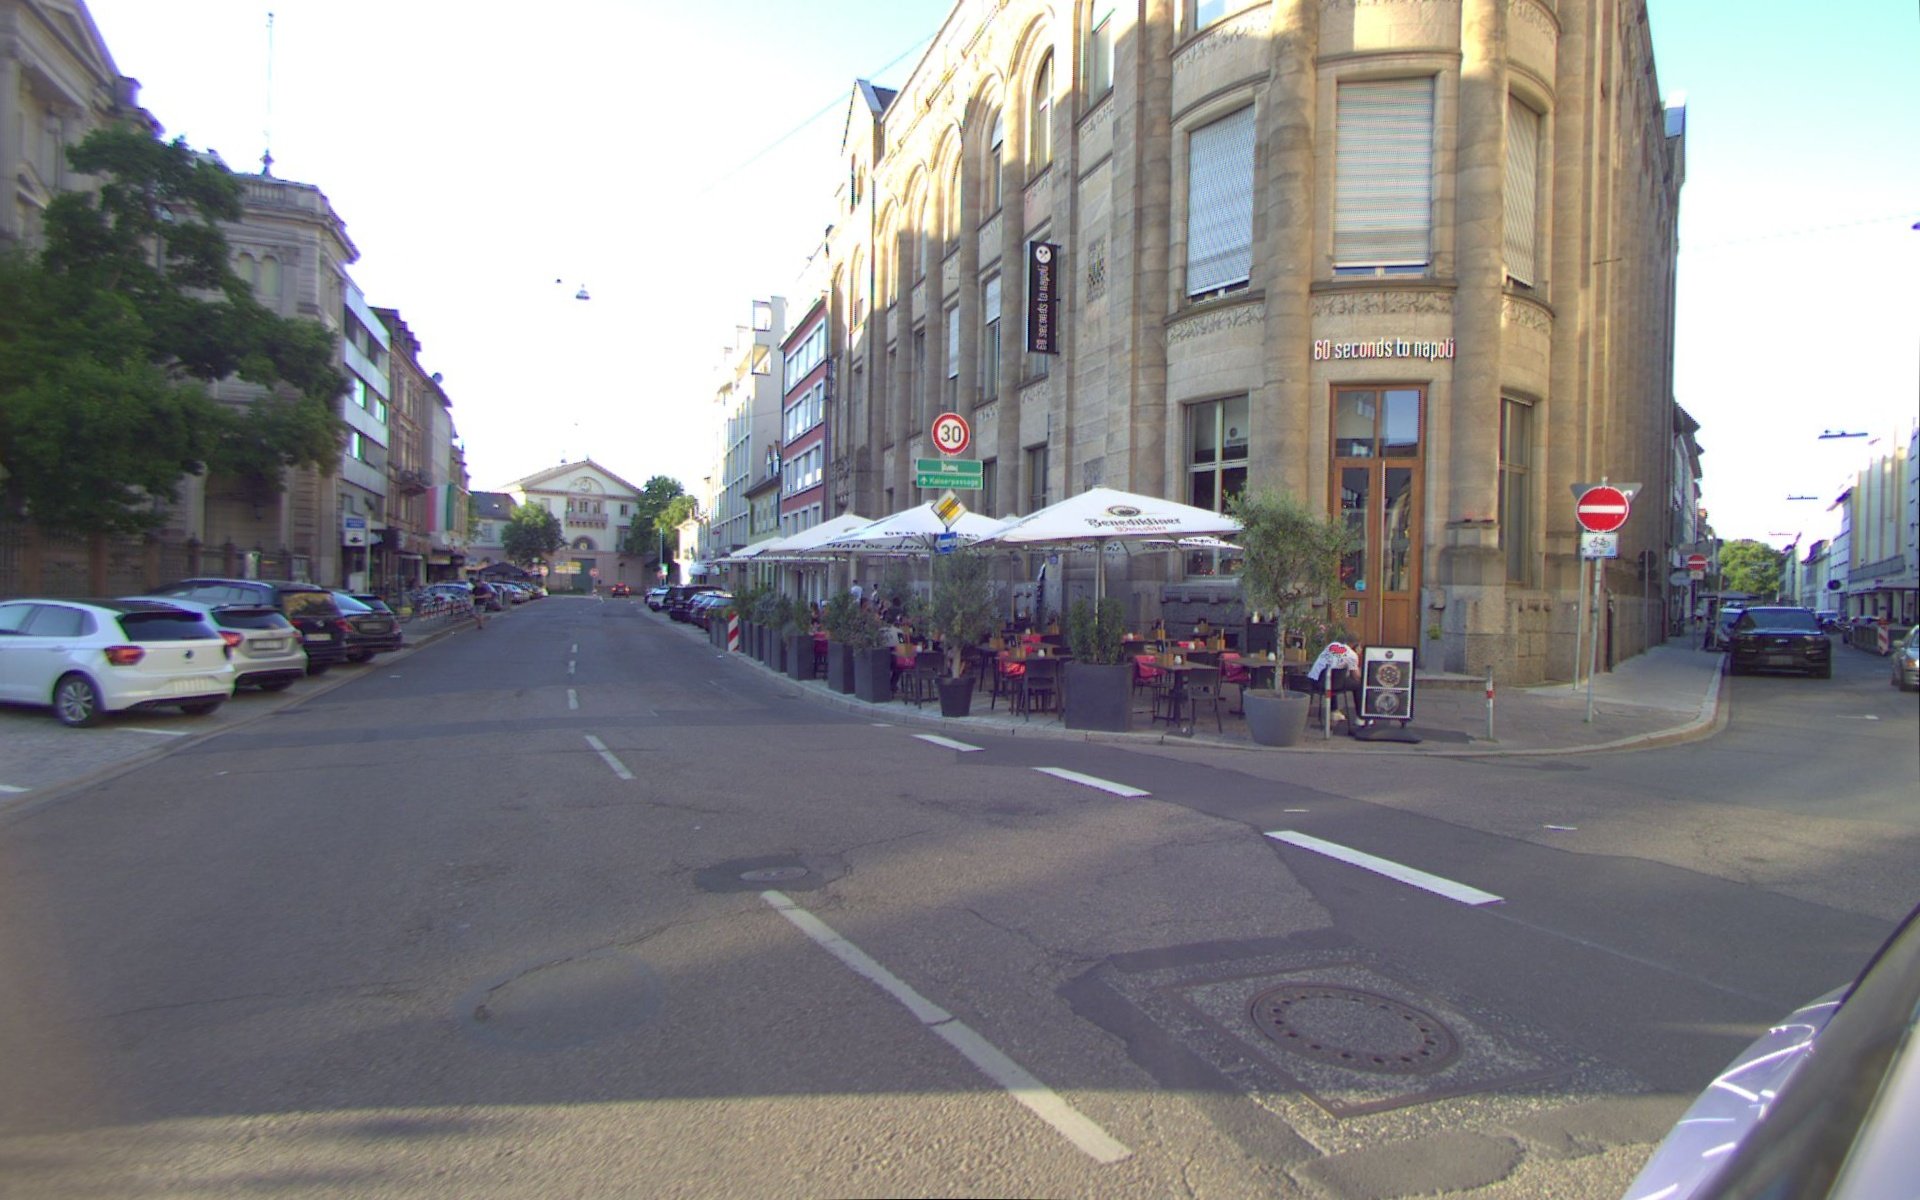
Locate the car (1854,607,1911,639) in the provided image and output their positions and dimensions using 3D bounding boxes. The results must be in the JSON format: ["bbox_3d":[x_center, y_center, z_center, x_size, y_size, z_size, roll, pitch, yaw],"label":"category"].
[{"bbox_3d":[47.464,1.153,52.140,1.713,1.479,4.081,1,0,36],"label":"car"}]

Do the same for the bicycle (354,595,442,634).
[{"bbox_3d":[-16.843,0.422,30.404,2.254,1.104,0.718,0,1,-24],"label":"bicycle"}]

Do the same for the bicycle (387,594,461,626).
[{"bbox_3d":[-18.945,0.336,35.831,2.254,1.104,0.718,0,1,-24],"label":"bicycle"}]

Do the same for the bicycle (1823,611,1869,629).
[{"bbox_3d":[64.803,1.467,74.054,2.476,1.193,0.771,1,1,45],"label":"bicycle"}]

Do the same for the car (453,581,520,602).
[{"bbox_3d":[-33.548,-0.609,71.740,3.922,1.430,1.756,0,1,-1],"label":"car"}]

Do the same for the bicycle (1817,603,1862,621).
[{"bbox_3d":[66.390,0.905,76.407,2.476,1.347,0.771,1,1,45],"label":"bicycle"}]

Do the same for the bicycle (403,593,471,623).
[{"bbox_3d":[-19.927,0.292,38.589,2.254,1.104,0.718,0,1,-24],"label":"bicycle"}]

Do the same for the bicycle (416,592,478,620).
[{"bbox_3d":[-21.116,0.243,41.701,2.254,1.104,0.718,0,1,-24],"label":"bicycle"}]

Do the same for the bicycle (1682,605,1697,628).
[{"bbox_3d":[37.935,0.840,52.606,0.518,1.103,1.728,6,3,38],"label":"bicycle"}]

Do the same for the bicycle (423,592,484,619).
[{"bbox_3d":[-21.308,0.228,42.631,2.254,1.104,0.718,0,1,-24],"label":"bicycle"}]

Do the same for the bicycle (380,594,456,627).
[{"bbox_3d":[-18.589,0.353,34.766,2.254,1.104,0.718,0,1,-24],"label":"bicycle"}]

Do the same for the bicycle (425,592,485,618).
[{"bbox_3d":[-21.715,0.213,43.570,2.254,1.104,0.718,0,1,-24],"label":"bicycle"}]

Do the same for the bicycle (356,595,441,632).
[{"bbox_3d":[-17.270,0.410,31.185,2.254,1.104,0.718,0,1,-24],"label":"bicycle"}]

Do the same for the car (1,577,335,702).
[{"bbox_3d":[-11.970,0.538,15.416,3.933,1.544,1.751,3,1,8],"label":"car"}]

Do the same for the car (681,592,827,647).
[{"bbox_3d":[-5.816,0.509,28.975,1.745,1.430,4.016,1,1,36],"label":"car"}]

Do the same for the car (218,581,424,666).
[{"bbox_3d":[-13.240,0.429,20.977,3.956,1.628,1.741,0,1,24],"label":"car"}]

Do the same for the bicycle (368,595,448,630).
[{"bbox_3d":[-17.972,0.381,33.009,2.254,1.104,0.718,0,1,-24],"label":"bicycle"}]

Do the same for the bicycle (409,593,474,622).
[{"bbox_3d":[-20.362,0.273,39.793,2.254,1.104,0.718,0,1,-24],"label":"bicycle"}]

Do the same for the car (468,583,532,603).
[{"bbox_3d":[-33.646,-0.540,74.079,3.922,1.430,1.756,0,1,-1],"label":"car"}]

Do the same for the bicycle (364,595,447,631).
[{"bbox_3d":[-17.575,0.395,32.146,2.254,1.104,0.718,0,1,-24],"label":"bicycle"}]

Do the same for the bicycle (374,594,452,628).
[{"bbox_3d":[-18.279,0.367,33.885,2.254,1.104,0.718,0,1,-24],"label":"bicycle"}]

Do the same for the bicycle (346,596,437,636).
[{"bbox_3d":[-16.447,0.439,29.342,2.254,1.104,0.718,0,1,-24],"label":"bicycle"}]

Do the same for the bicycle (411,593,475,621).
[{"bbox_3d":[-20.718,0.261,40.590,2.254,1.104,0.718,0,1,-24],"label":"bicycle"}]

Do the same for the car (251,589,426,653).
[{"bbox_3d":[-15.145,0.456,24.648,3.956,1.430,1.741,0,1,24],"label":"car"}]

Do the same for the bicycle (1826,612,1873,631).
[{"bbox_3d":[62.366,1.494,70.958,2.476,1.193,0.771,1,1,45],"label":"bicycle"}]

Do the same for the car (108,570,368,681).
[{"bbox_3d":[-12.976,0.401,18.239,3.944,1.742,1.747,2,1,16],"label":"car"}]

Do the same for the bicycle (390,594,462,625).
[{"bbox_3d":[-19.291,0.324,36.617,2.254,1.104,0.718,0,1,-24],"label":"bicycle"}]

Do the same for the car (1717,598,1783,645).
[{"bbox_3d":[30.324,0.781,38.936,1.768,1.687,3.949,1,1,35],"label":"car"}]

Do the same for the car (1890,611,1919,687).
[{"bbox_3d":[20.932,0.998,21.027,1.989,1.440,4.397,1,1,38],"label":"car"}]

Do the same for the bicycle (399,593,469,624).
[{"bbox_3d":[-19.595,0.306,37.759,2.254,1.104,0.718,0,1,-24],"label":"bicycle"}]

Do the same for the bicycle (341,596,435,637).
[{"bbox_3d":[-16.110,0.452,28.575,2.254,1.104,0.718,0,1,-24],"label":"bicycle"}]

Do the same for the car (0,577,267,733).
[{"bbox_3d":[-11.148,0.603,12.677,3.846,1.464,1.751,5,1,8],"label":"car"}]
